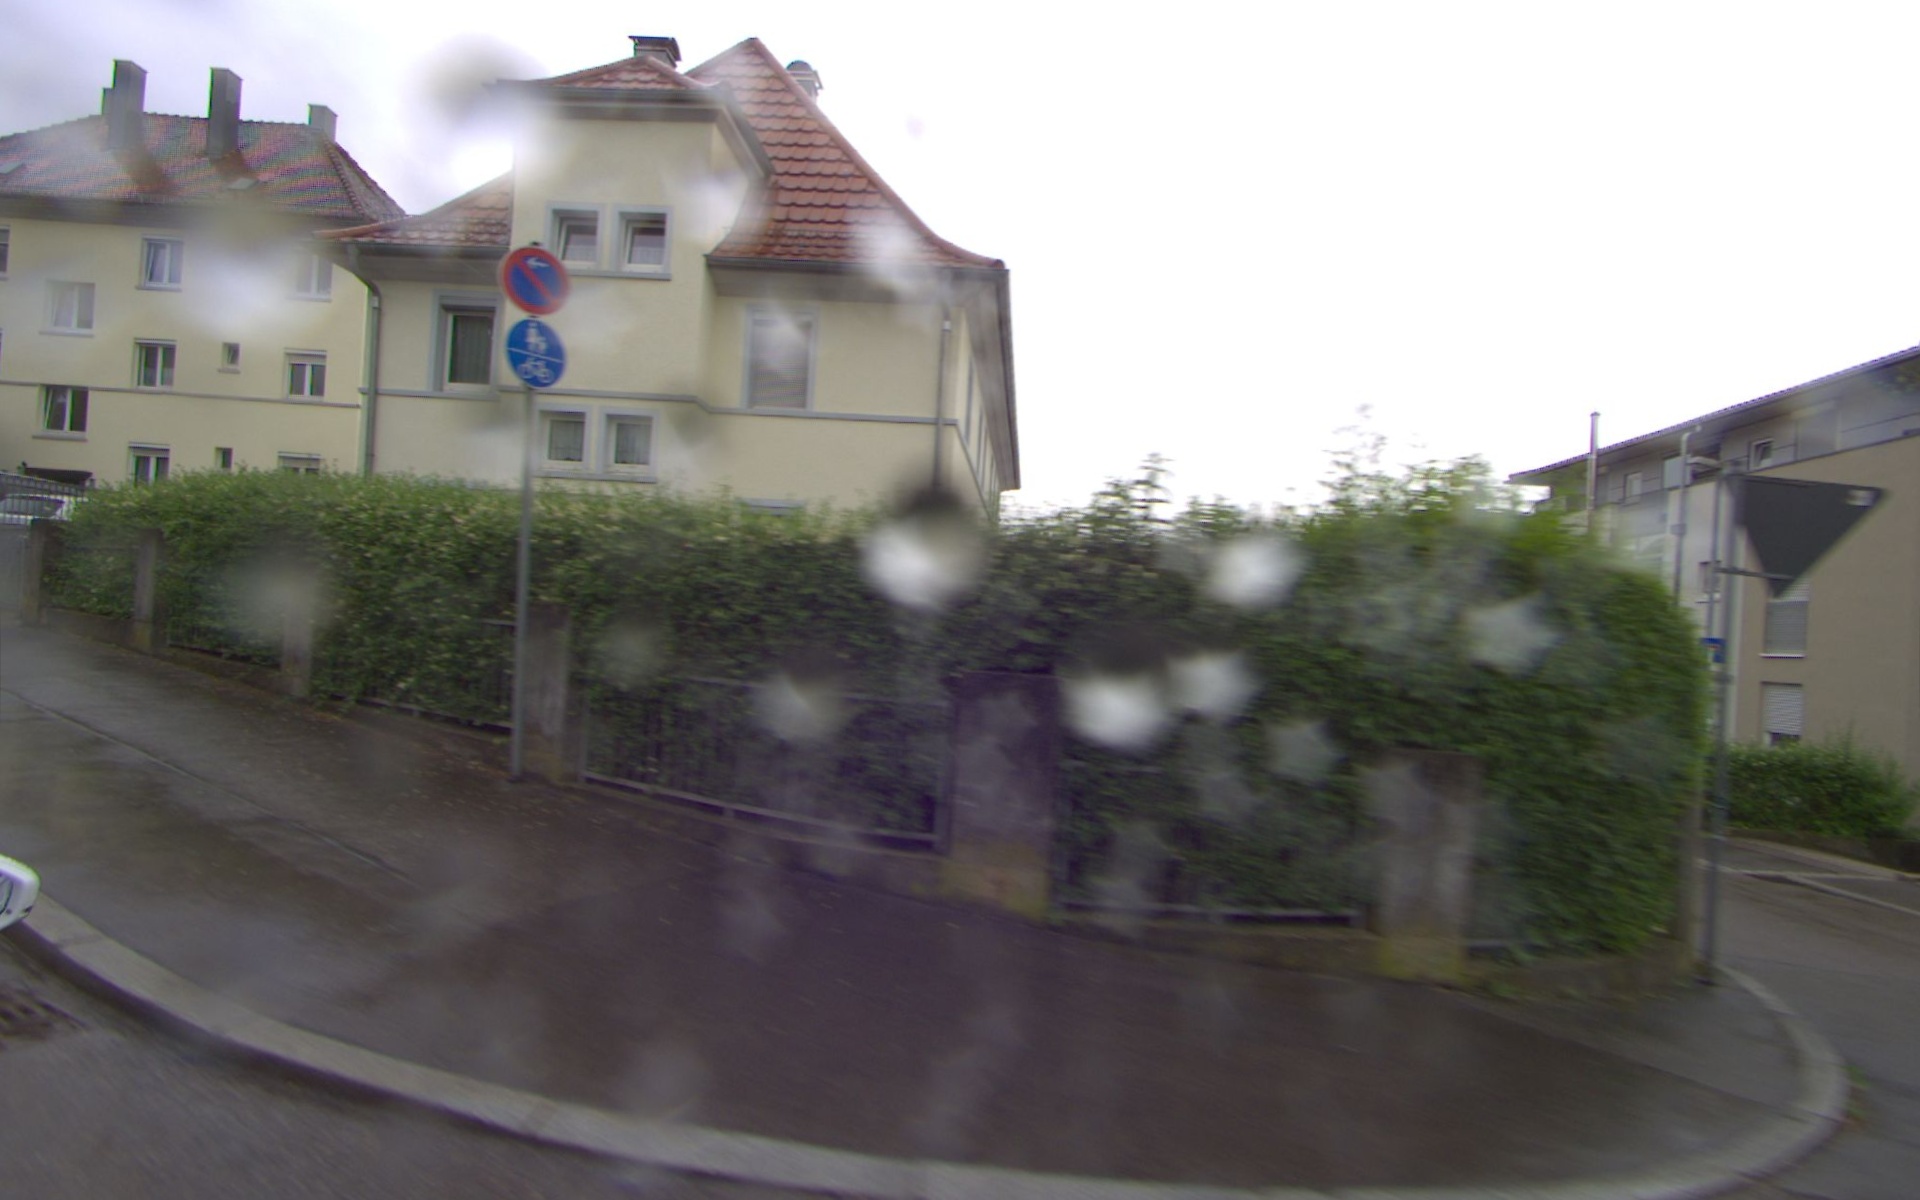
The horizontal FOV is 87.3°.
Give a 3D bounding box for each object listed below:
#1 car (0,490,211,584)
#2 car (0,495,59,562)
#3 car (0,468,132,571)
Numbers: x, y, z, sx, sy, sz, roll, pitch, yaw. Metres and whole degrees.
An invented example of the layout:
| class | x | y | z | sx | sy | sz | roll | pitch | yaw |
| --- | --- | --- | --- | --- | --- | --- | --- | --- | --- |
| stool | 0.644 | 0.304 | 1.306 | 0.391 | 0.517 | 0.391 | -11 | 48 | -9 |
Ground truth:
| class | x | y | z | sx | sy | sz | roll | pitch | yaw |
| --- | --- | --- | --- | --- | --- | --- | --- | --- | --- |
| car | -16.189 | -1.125 | 18.743 | 1.656 | 1.494 | 3.525 | 4 | 1 | 3 |
| car | -20.856 | -1.573 | 20.572 | 1.656 | 1.356 | 3.524 | 4 | 1 | 0 |
| car | -18.421 | -1.569 | 19.285 | 1.737 | 1.805 | 3.934 | 4 | 1 | 1 |
